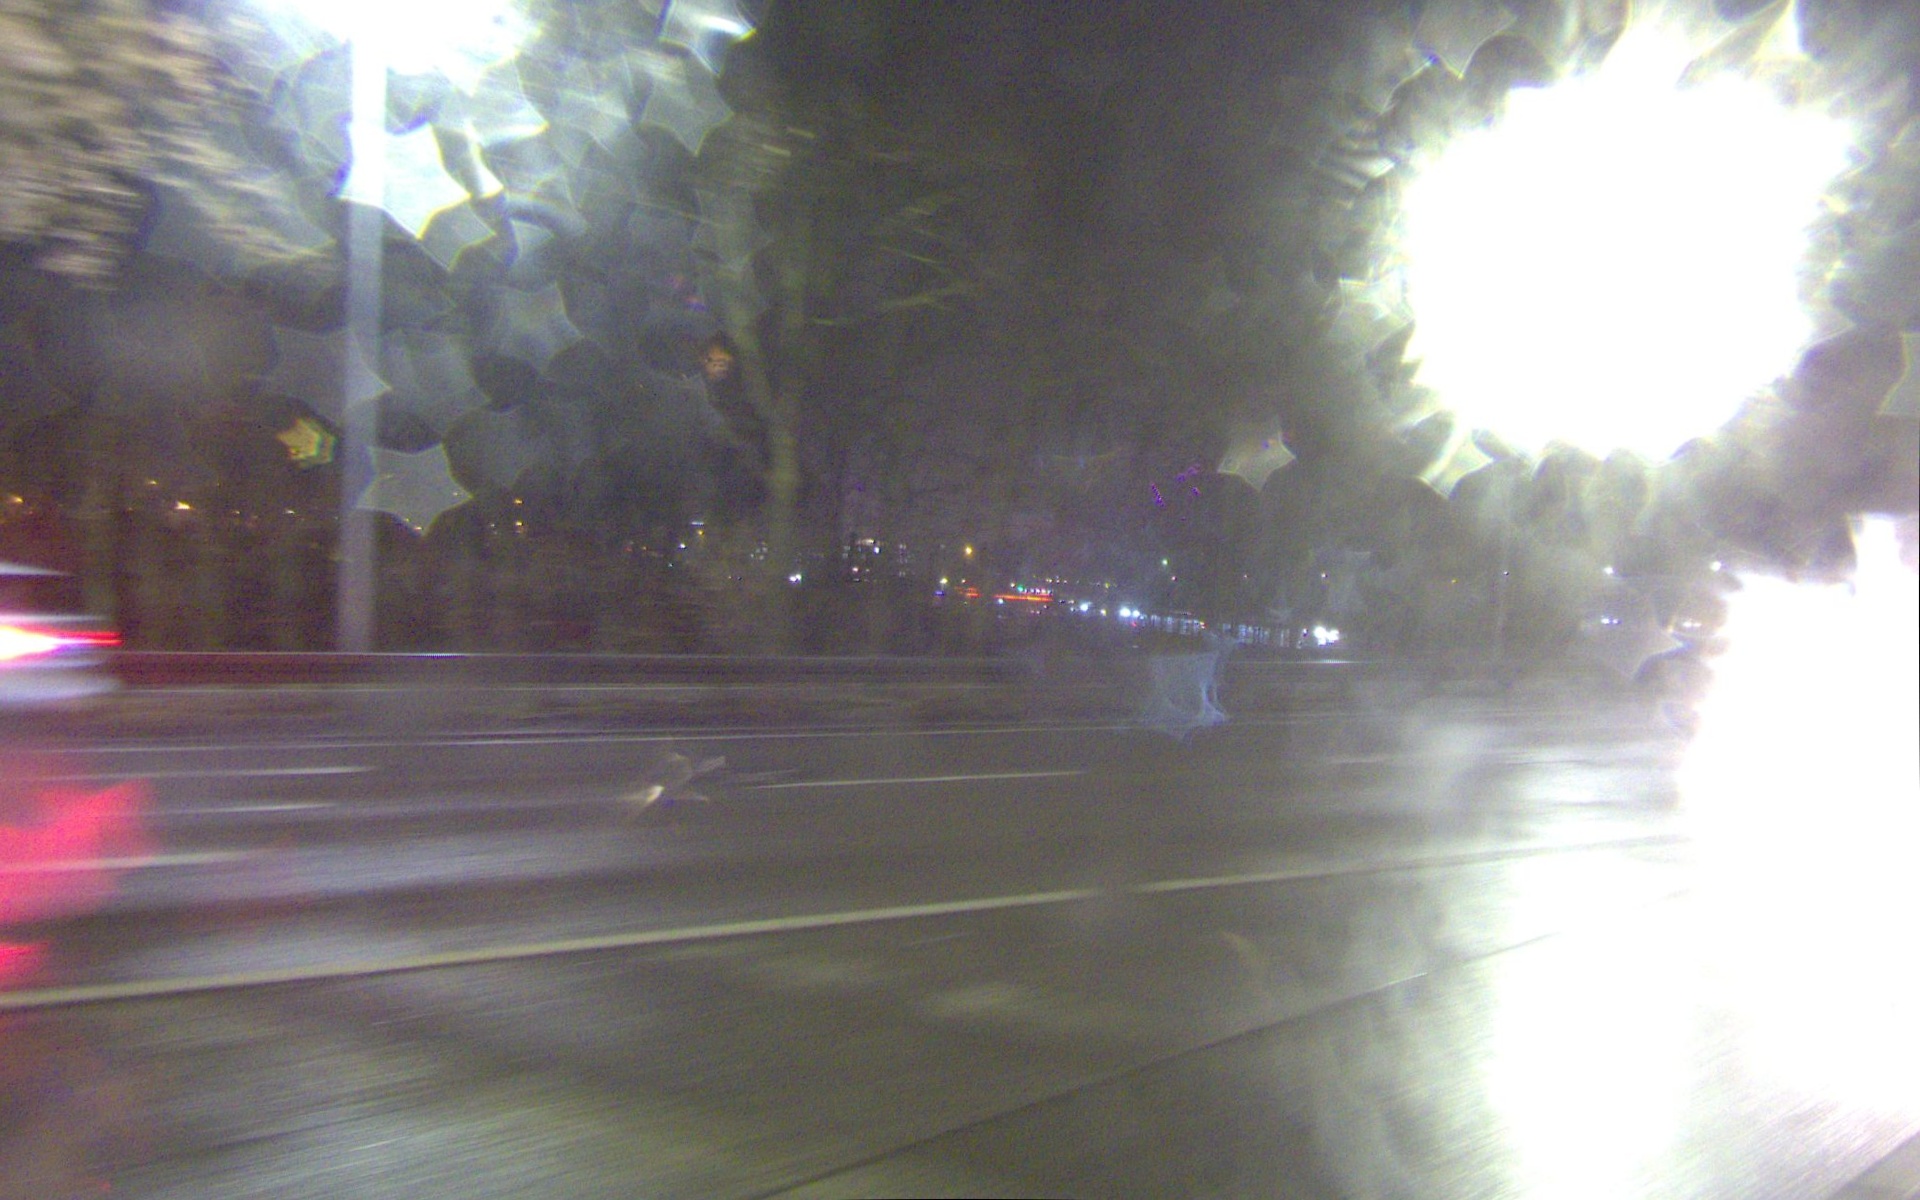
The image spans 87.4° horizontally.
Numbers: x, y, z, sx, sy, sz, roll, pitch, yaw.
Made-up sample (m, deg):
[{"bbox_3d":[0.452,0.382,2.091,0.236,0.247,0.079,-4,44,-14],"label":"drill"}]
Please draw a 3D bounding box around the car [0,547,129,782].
[{"bbox_3d":[-9.142,0.422,6.968,4.758,1.626,1.983,1,-1,-19],"label":"car"}]

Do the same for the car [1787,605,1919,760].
[{"bbox_3d":[12.594,0.977,12.490,4.560,1.697,1.990,1,1,-29],"label":"car"}]
